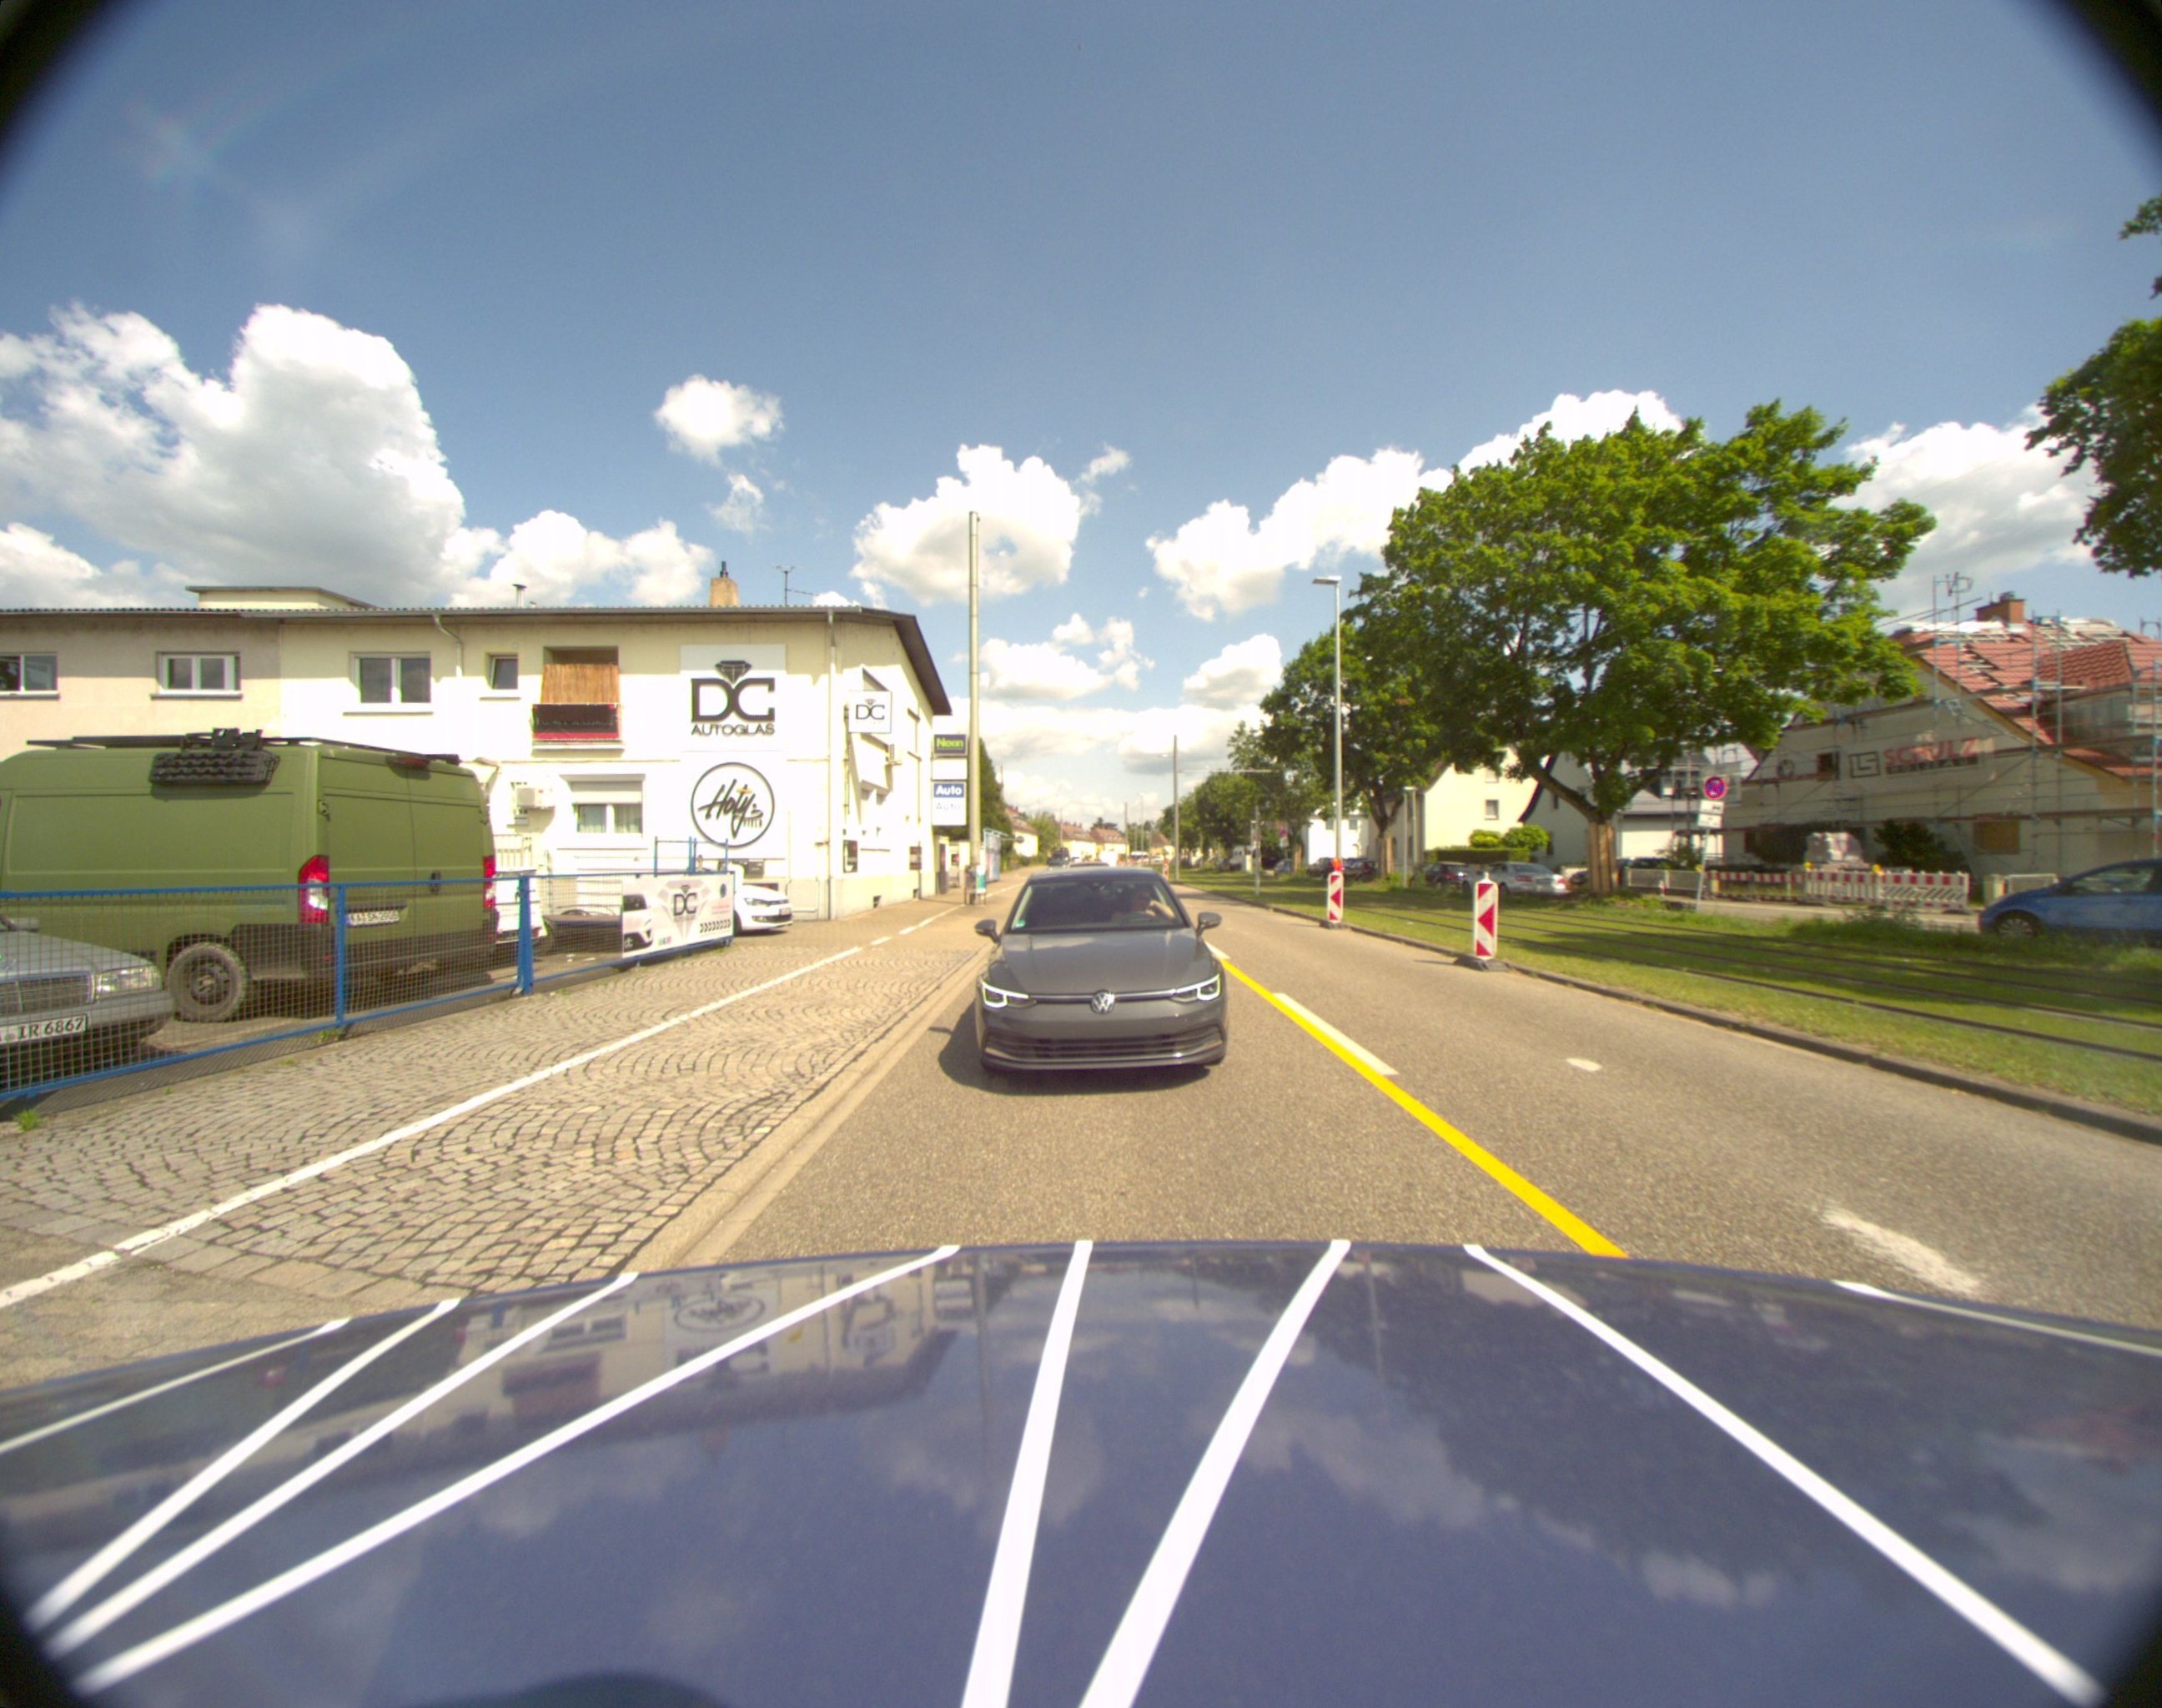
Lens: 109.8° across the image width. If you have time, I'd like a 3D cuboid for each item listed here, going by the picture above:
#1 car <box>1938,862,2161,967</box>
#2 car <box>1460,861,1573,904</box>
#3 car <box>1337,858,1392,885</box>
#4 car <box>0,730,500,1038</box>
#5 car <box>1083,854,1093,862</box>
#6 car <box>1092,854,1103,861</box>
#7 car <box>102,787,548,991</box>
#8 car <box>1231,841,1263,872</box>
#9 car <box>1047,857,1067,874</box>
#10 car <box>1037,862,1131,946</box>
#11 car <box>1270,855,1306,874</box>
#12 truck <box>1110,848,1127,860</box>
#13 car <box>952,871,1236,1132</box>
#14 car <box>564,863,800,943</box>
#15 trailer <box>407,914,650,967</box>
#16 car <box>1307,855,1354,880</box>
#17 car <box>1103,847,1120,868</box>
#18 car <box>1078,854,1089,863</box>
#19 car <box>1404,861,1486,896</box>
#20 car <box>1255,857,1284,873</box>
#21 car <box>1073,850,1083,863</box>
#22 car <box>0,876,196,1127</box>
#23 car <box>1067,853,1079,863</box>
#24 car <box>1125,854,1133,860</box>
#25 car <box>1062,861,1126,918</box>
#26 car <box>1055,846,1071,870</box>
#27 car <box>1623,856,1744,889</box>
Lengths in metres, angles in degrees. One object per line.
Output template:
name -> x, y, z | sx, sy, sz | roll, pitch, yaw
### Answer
car -> 16.200, 0.862, 11.401 | 1.702, 1.477, 4.407 | -1, -1, 1
car -> 16.416, 1.060, 28.953 | 1.788, 1.477, 4.523 | -1, -1, 2
car -> 16.766, 1.026, 45.157 | 1.702, 1.477, 4.407 | -1, -1, 1
car -> -8.729, 0.268, 7.610 | 4.207, 2.627, 2.113 | 0, 0, 2
car -> 1.434, 0.885, 155.838 | 1.701, 1.574, 4.002 | 0, 0, 7
car -> 3.838, 0.888, 173.598 | 1.700, 1.574, 4.004 | 0, 0, 12
car -> -9.502, 0.421, 9.768 | 4.207, 2.392, 1.586 | 0, 0, 2
car -> 16.811, 0.261, 77.273 | 2.136, 3.019, 5.084 | -1, -1, 1
car -> -2.191, 1.036, 70.755 | 1.702, 1.574, 4.000 | 0, 0, 1
car -> 0.076, 0.936, 15.823 | 1.702, 1.477, 4.000 | 0, 0, 1
car -> 16.638, 0.865, 61.283 | 1.702, 1.477, 4.407 | -1, -1, 1
truck -> 9.901, 0.116, 201.052 | 2.710, 3.119, 8.124 | 0, 0, 15
car -> 0.105, 0.933, 6.554 | 1.702, 1.477, 4.000 | 0, 0, 1
car -> -7.665, 0.912, 14.818 | 3.775, 1.454, 1.555 | 0, 0, 2
trailer -> -8.371, 1.304, 11.660 | 2.733, 0.662, 1.329 | 0, 0, -1
car -> 16.549, 0.889, 50.663 | 1.702, 1.562, 4.407 | -1, -1, 1
car -> 3.810, 0.445, 96.352 | 2.090, 2.449, 5.842 | 2, 0, 2
car -> 0.477, 0.882, 146.708 | 1.701, 1.574, 4.002 | 0, 0, 6
car -> 16.621, 1.113, 34.939 | 1.702, 1.477, 4.407 | -1, -1, 1
car -> 17.640, 1.065, 71.328 | 1.702, 1.477, 4.407 | -1, -1, 1
car -> -0.496, 0.401, 136.404 | 1.701, 2.233, 4.947 | 0, 0, 2
car -> -8.462, 0.886, 4.774 | 4.282, 1.444, 1.713 | 0, 0, 8
car -> -1.322, 0.655, 123.041 | 1.701, 1.574, 4.001 | 0, 0, 3
car -> 13.811, 0.915, 218.684 | 1.700, 1.574, 4.005 | 0, 0, 16
car -> 0.382, 0.972, 22.212 | 1.702, 1.477, 4.000 | 0, 0, 1
car -> -1.919, 0.437, 82.440 | 1.702, 2.510, 5.144 | 0, 0, 0
car -> 28.901, 0.882, 36.513 | 4.402, 1.477, 1.704 | -1, -1, 1
